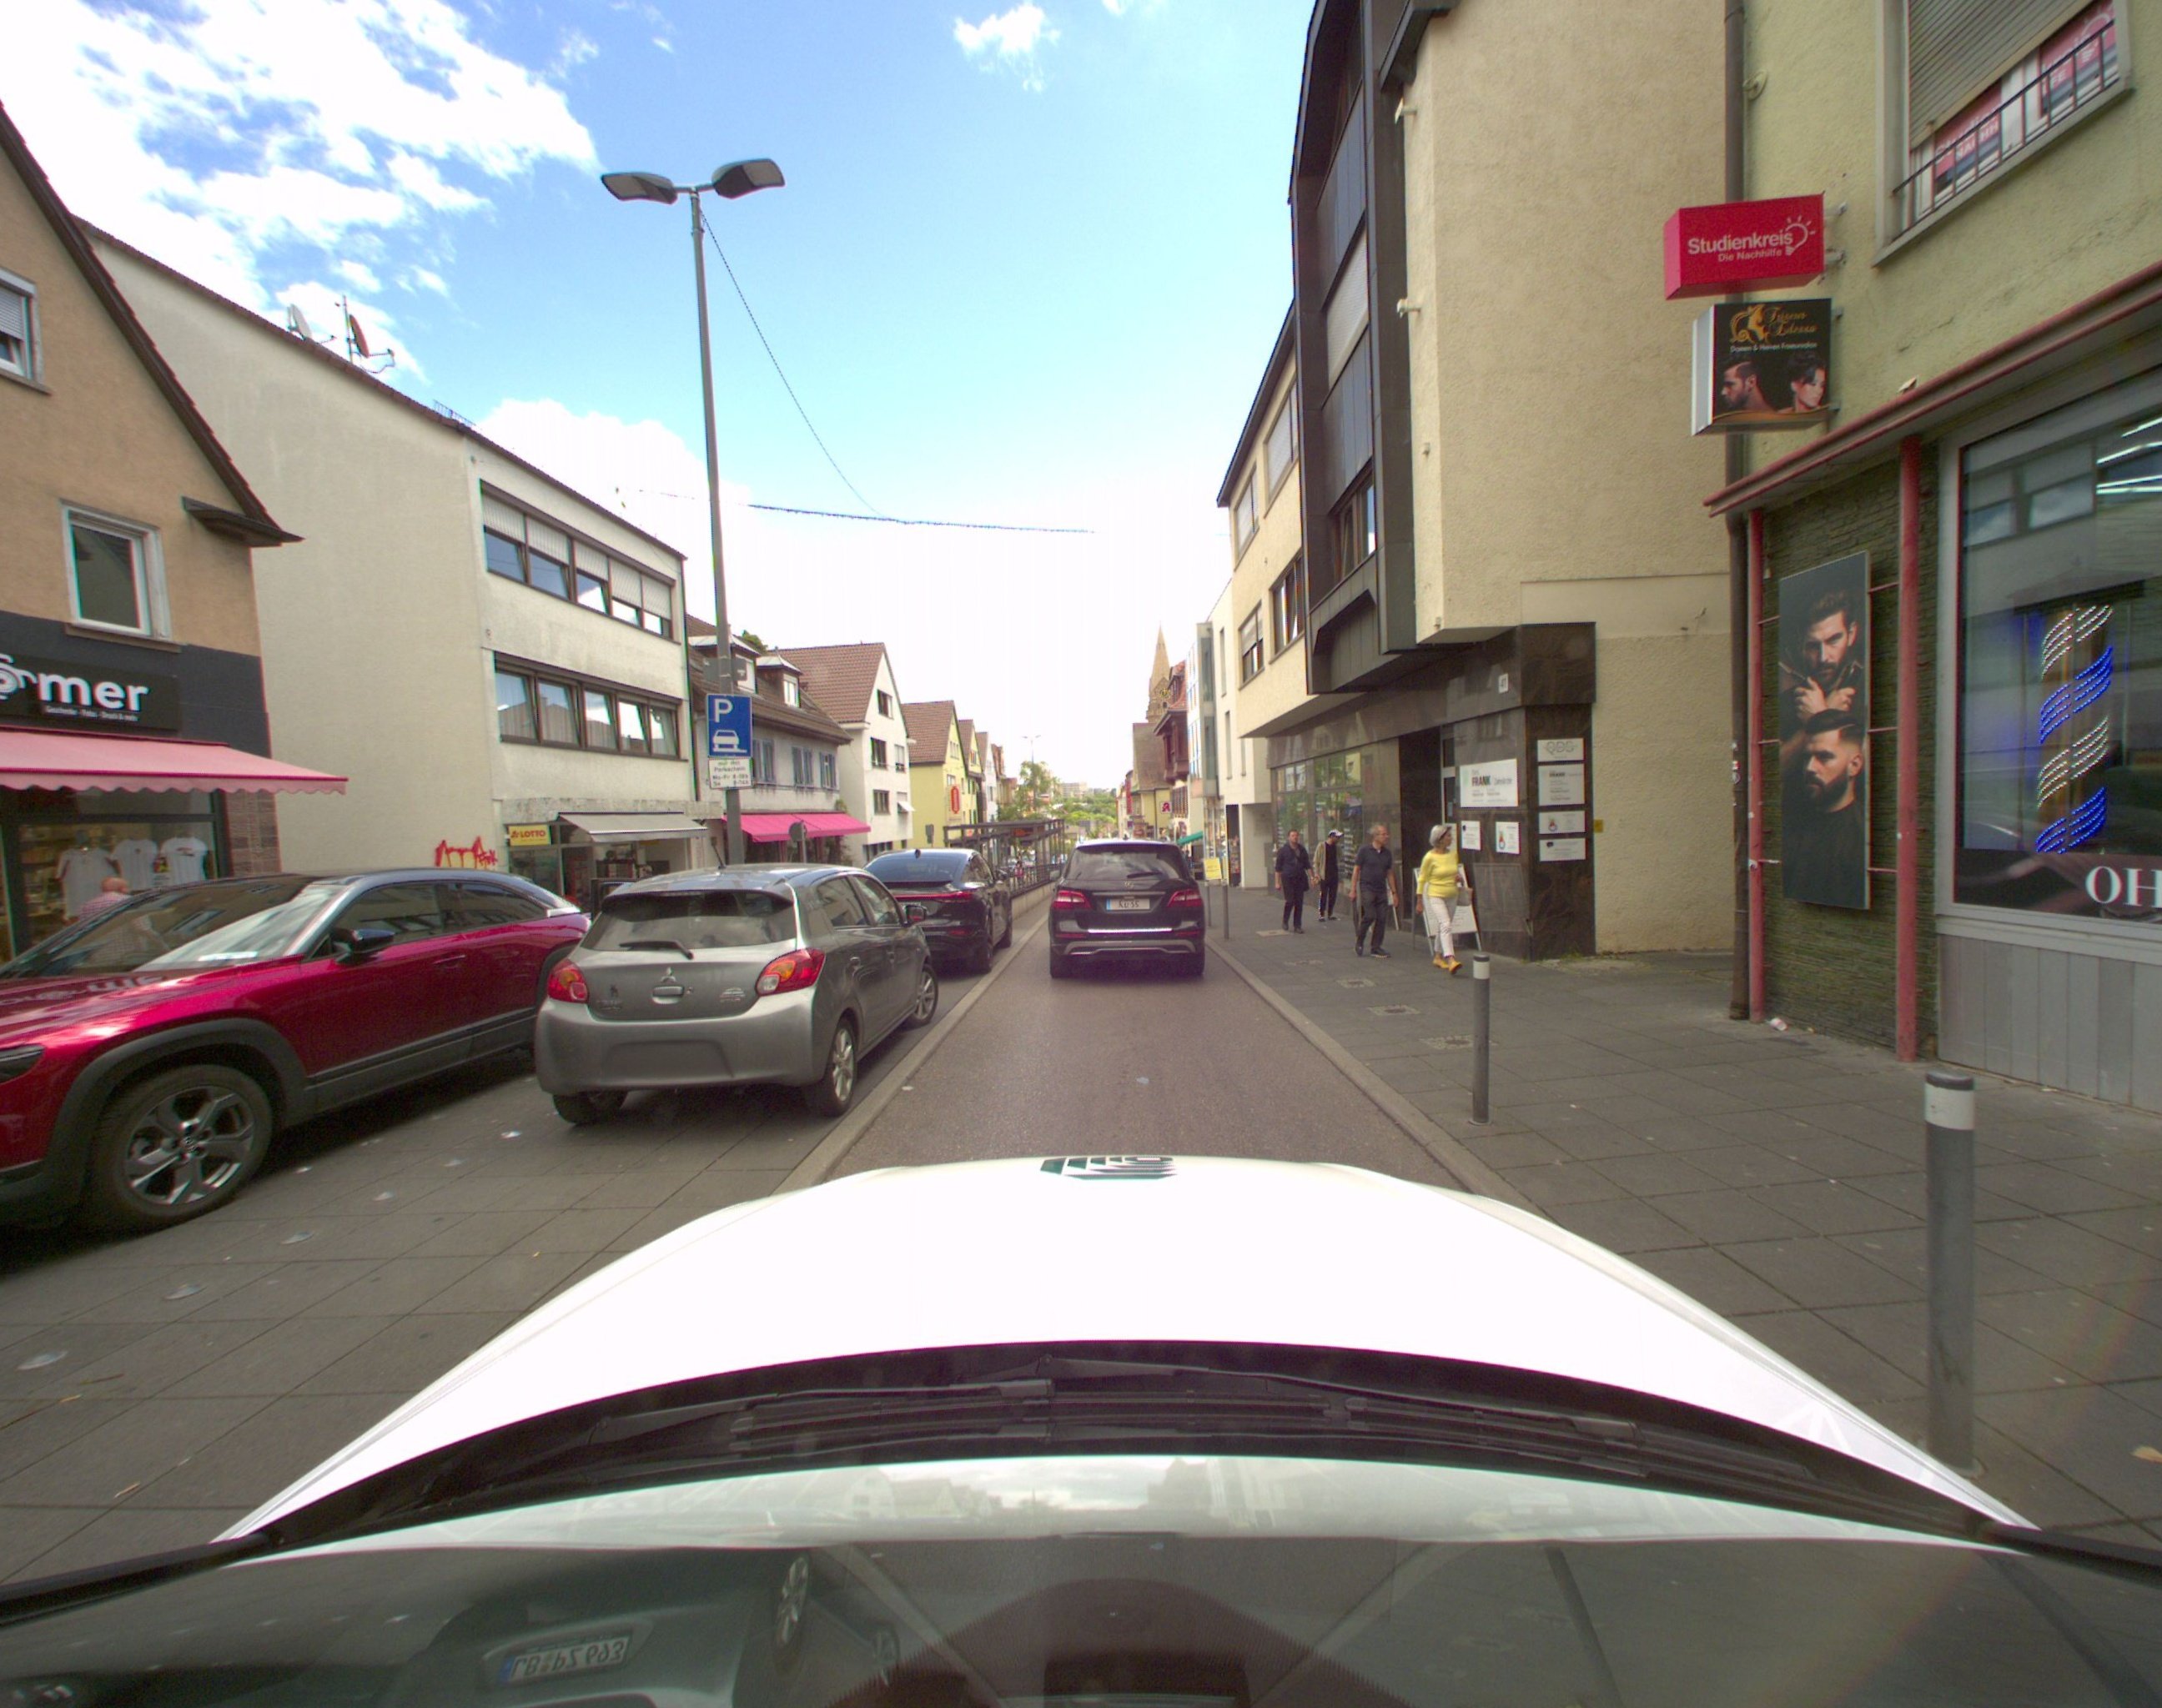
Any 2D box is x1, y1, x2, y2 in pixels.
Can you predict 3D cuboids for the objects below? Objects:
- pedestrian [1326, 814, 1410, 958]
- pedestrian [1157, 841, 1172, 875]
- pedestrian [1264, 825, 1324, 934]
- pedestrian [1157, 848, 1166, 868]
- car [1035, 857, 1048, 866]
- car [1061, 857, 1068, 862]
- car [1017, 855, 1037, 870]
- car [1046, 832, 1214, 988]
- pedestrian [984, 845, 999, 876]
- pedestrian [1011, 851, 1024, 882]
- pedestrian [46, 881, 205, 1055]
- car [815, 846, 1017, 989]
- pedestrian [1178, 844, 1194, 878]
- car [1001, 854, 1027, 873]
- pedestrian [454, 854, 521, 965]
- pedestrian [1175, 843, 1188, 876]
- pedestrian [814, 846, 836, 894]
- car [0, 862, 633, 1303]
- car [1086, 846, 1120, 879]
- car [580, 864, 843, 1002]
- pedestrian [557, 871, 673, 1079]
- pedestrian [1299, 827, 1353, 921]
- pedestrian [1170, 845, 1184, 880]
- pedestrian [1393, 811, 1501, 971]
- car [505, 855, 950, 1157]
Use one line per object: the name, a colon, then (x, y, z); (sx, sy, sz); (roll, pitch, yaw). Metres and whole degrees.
pedestrian: (3.703, 0.402, 10.564); (0.708, 1.753, 0.785); (-4, 0, 1)
pedestrian: (4.106, 0.196, 39.936); (0.620, 1.689, 0.565); (-1, 0, -5)
pedestrian: (3.613, 0.420, 13.883); (0.708, 1.753, 0.787); (-4, 0, 1)
pedestrian: (6.963, 0.358, 70.559); (0.604, 1.688, 0.724); (-3, 0, 1)
car: (-5.169, 1.045, 107.705); (1.383, 1.070, 3.114); (-3, 0, 2)
car: (-3.654, 1.219, 181.407); (1.383, 1.070, 3.114); (-3, 0, 2)
car: (-5.638, 0.825, 85.144); (1.654, 1.490, 3.749); (-1, 0, 2)
car: (0.552, 0.632, 11.255); (1.894, 1.747, 3.999); (-1, 0, 0)
pedestrian: (-4.905, 0.375, 44.854); (0.606, 1.689, 0.566); (-1, 0, 22)
pedestrian: (-3.452, 0.681, 44.495); (0.623, 1.689, 0.679); (-1, 0, 1)
pedestrian: (-9.958, 1.154, 8.521); (0.636, 1.689, 0.828); (-2, 0, 3)
car: (-2.101, 0.734, 11.681); (1.950, 1.639, 4.314); (-1, 0, 0)
pedestrian: (5.454, 0.368, 42.312); (0.572, 1.689, 0.565); (-4, 0, -5)
car: (-5.542, 0.787, 67.863); (1.683, 1.490, 3.981); (-1, 0, 2)
pedestrian: (-9.483, 0.870, 13.019); (0.638, 1.689, 0.670); (-2, 1, 41)
pedestrian: (5.351, 0.290, 43.242); (0.572, 1.689, 0.565); (-1, 0, -5)
pedestrian: (-9.218, 0.558, 29.282); (0.576, 1.689, 0.577); (-1, 0, 1)
car: (-4.752, 0.892, 4.801); (1.733, 1.543, 4.194); (-3, 0, 1)
car: (1.178, 0.426, 44.910); (1.764, 1.713, 4.001); (-1, 0, 1)
car: (-4.728, 0.916, 11.115); (1.733, 1.475, 3.885); (-1, 0, 1)
pedestrian: (-3.426, 0.865, 6.021); (0.464, 1.431, 0.492); (-4, 0, 1)
pedestrian: (4.592, 0.366, 15.311); (0.662, 1.689, 0.542); (-6, 0, -5)
pedestrian: (4.836, 0.445, 40.923); (0.541, 1.726, 0.527); (-3, 0, -5)
pedestrian: (4.005, 0.389, 8.970); (0.708, 1.631, 0.835); (-4, 0, 1)
car: (-2.132, 0.789, 6.062); (1.614, 1.532, 3.671); (-1, 0, 1)
